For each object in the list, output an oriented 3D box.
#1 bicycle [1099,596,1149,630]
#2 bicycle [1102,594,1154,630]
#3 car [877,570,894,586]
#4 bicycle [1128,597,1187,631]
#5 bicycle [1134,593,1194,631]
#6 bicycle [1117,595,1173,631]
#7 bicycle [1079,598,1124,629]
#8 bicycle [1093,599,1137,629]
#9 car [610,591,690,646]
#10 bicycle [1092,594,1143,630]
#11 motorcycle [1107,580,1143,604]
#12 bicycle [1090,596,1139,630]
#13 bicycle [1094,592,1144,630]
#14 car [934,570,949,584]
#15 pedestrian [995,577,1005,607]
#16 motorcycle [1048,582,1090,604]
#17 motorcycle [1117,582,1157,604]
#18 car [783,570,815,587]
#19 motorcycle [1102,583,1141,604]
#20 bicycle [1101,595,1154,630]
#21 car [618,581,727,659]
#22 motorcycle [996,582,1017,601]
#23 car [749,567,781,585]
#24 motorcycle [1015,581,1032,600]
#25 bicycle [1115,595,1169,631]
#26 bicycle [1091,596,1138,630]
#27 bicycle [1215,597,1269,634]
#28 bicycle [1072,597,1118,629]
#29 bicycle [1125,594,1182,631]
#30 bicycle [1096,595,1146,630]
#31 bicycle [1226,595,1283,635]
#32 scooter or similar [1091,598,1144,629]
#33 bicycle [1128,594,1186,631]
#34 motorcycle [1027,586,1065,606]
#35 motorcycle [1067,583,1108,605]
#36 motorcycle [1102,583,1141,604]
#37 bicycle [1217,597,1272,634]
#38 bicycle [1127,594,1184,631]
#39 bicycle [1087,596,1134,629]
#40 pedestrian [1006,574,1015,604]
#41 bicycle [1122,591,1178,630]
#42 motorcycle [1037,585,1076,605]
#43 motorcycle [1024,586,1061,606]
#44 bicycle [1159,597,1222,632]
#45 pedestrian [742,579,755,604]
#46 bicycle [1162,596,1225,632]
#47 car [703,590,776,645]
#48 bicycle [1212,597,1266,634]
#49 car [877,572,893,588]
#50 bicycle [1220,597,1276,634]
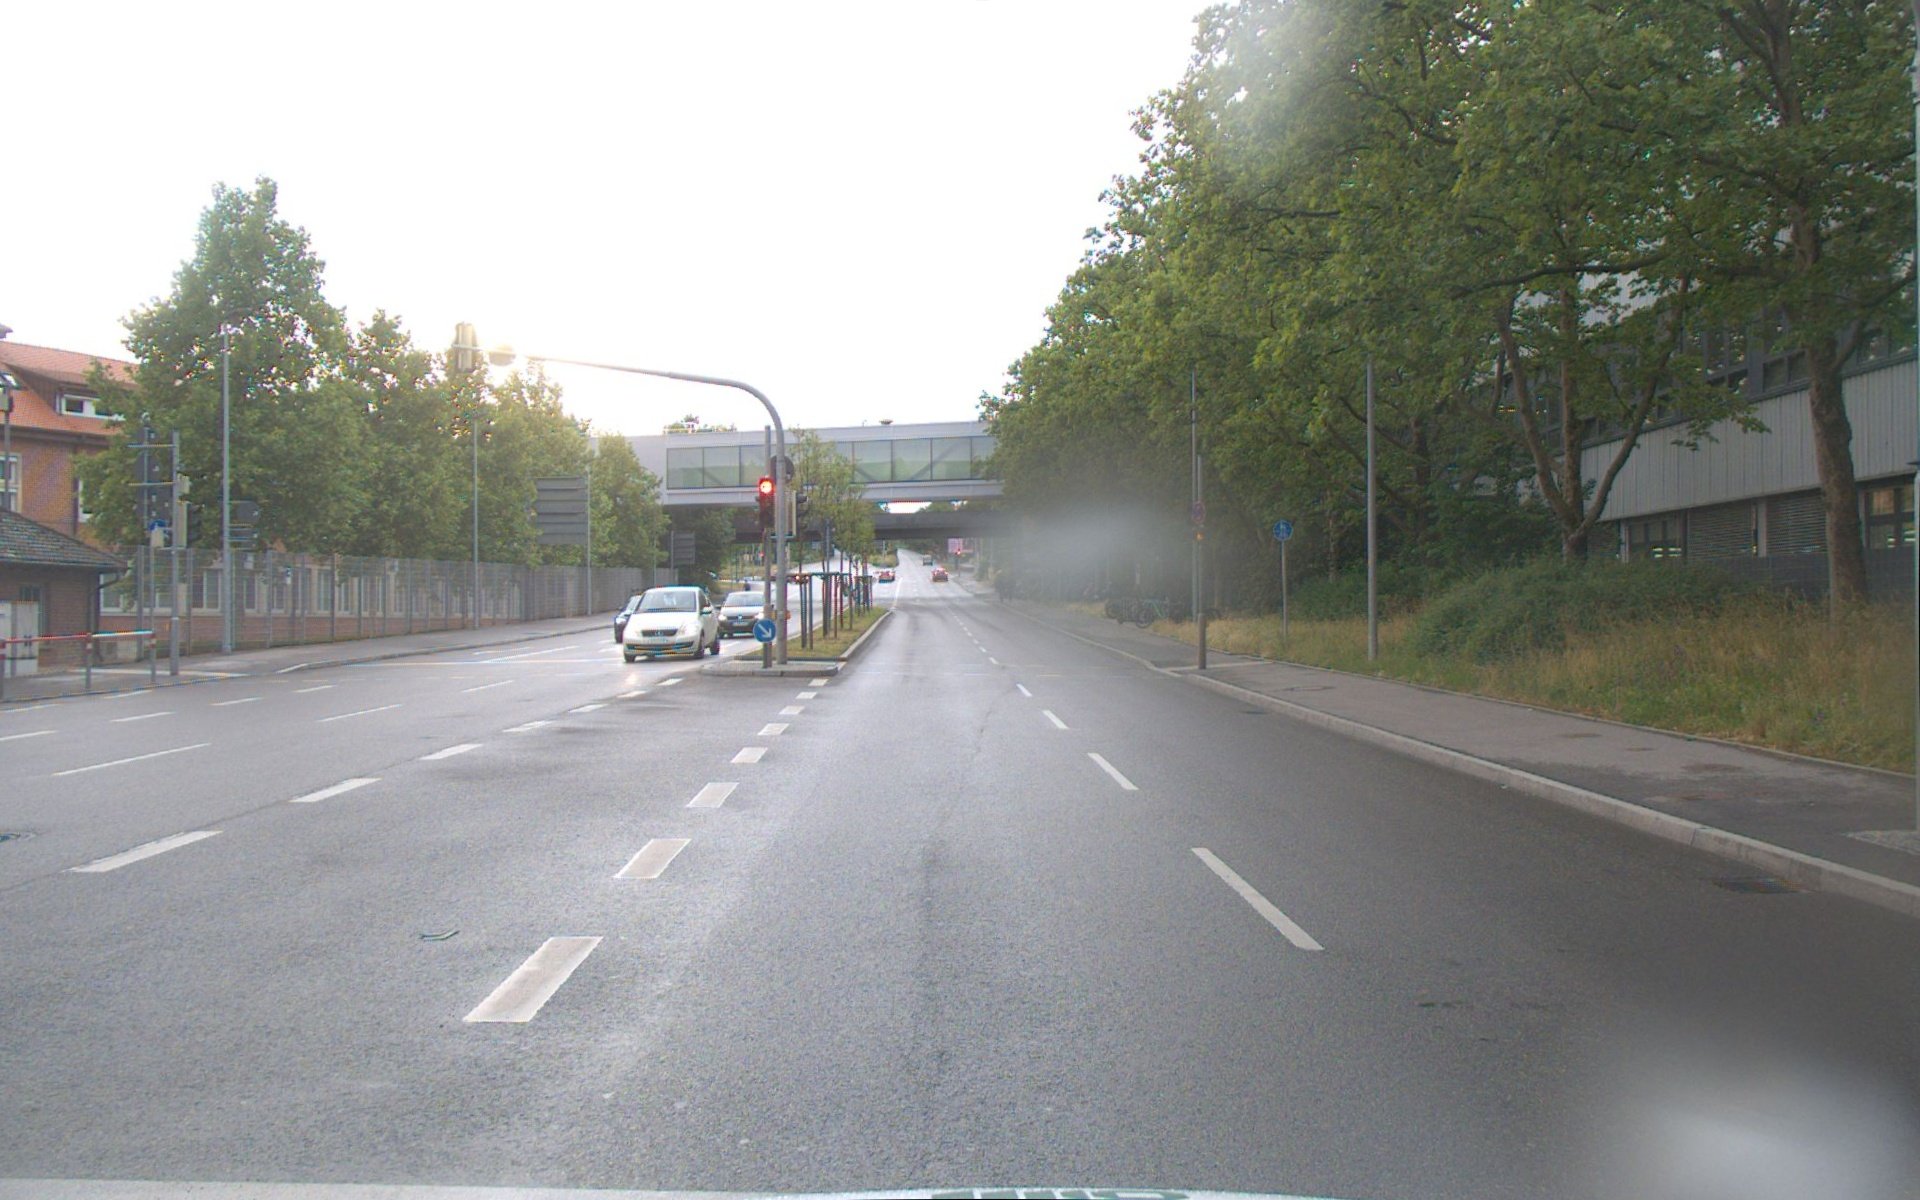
[{"bbox_3d":[6.791,0.530,68.479,1.949,1.352,0.576,2,-1,0],"label":"bicycle"},{"bbox_3d":[6.596,0.489,65.137,1.949,1.352,0.576,2,-1,0],"label":"bicycle"},{"bbox_3d":[-9.274,-2.783,206.578,1.953,1.792,3.999,2,-1,-1],"label":"car"},{"bbox_3d":[6.866,0.498,57.561,1.949,1.114,0.541,2,-1,0],"label":"bicycle"},{"bbox_3d":[6.904,0.414,55.955,1.949,1.237,0.541,2,-1,0],"label":"bicycle"},{"bbox_3d":[6.816,0.468,60.912,1.949,1.263,0.541,2,-1,0],"label":"bicycle"},{"bbox_3d":[6.369,0.600,74.431,1.923,1.352,0.654,2,-1,0],"label":"bicycle"},{"bbox_3d":[7.102,0.645,75.944,1.923,1.352,0.654,2,-1,0],"label":"bicycle"},{"bbox_3d":[-9.730,0.547,52.148,1.839,1.653,3.778,-1,0,-1],"label":"car"},{"bbox_3d":[6.267,0.490,65.941,1.949,1.352,0.576,2,-1,0],"label":"bicycle"},{"bbox_3d":[10.693,-0.534,107.177,2.318,1.502,0.723,-1,0,7],"label":"motorcycle"},{"bbox_3d":[6.459,0.542,69.185,1.949,1.352,0.576,2,-1,0],"label":"bicycle"},{"bbox_3d":[6.509,0.457,67.622,1.949,1.455,0.723,2,-1,0],"label":"bicycle"},{"bbox_3d":[-2.275,-2.812,202.875,1.837,1.523,4.067,2,-1,-1],"label":"car"},{"bbox_3d":[2.754,-0.558,114.222,0.609,2.049,0.605,-1,0,-1],"label":"pedestrian"},{"bbox_3d":[6.273,-0.392,94.960,2.318,1.223,0.723,-1,0,7],"label":"motorcycle"},{"bbox_3d":[10.595,-0.410,99.068,2.318,1.223,0.723,-1,0,7],"label":"motorcycle"},{"bbox_3d":[-20.169,-2.737,207.447,1.985,2.049,3.935,3,-1,-44],"label":"car"},{"bbox_3d":[9.799,-0.371,100.411,2.318,1.223,0.723,-1,0,7],"label":"motorcycle"},{"bbox_3d":[6.388,0.487,63.228,1.949,1.263,0.541,2,-1,0],"label":"bicycle"},{"bbox_3d":[-6.515,0.420,37.810,1.839,1.653,3.778,-1,0,-1],"label":"car"},{"bbox_3d":[3.517,-0.636,125.398,0.778,1.334,2.364,-1,0,-19],"label":"motorcycle"},{"bbox_3d":[-23.969,-2.928,203.254,1.985,2.049,3.935,3,-1,-44],"label":"car"},{"bbox_3d":[4.699,-0.684,122.203,0.775,1.334,2.371,-1,0,-9],"label":"motorcycle"},{"bbox_3d":[6.798,0.481,61.860,1.949,1.263,0.541,2,-1,0],"label":"bicycle"},{"bbox_3d":[6.579,0.551,70.424,1.920,1.352,0.576,2,-1,0],"label":"bicycle"},{"bbox_3d":[10.798,0.599,63.382,1.949,1.352,0.576,2,-1,0],"label":"bicycle"},{"bbox_3d":[6.006,0.577,73.621,1.923,1.352,0.654,2,-1,0],"label":"bicycle"},{"bbox_3d":[6.941,0.451,59.359,1.949,1.263,0.541,2,-1,0],"label":"bicycle"},{"bbox_3d":[6.508,0.511,66.888,1.949,1.352,0.576,2,-1,0],"label":"bicycle"},{"bbox_3d":[10.666,0.547,59.975,1.949,1.352,0.576,2,-1,0],"label":"bicycle"},{"bbox_3d":[6.085,0.526,64.015,1.949,1.157,0.541,2,-1,0],"label":"scooter or similar"},{"bbox_3d":[6.936,0.445,58.172,1.949,1.255,0.541,2,-1,0],"label":"bicycle"},{"bbox_3d":[5.519,-0.252,106.052,2.318,1.223,0.723,-1,0,7],"label":"motorcycle"},{"bbox_3d":[7.489,-0.376,96.887,2.318,1.223,0.723,-1,0,7],"label":"motorcycle"},{"bbox_3d":[9.906,-0.393,101.209,2.318,1.223,0.723,-1,0,7],"label":"motorcycle"},{"bbox_3d":[10.794,0.590,62.734,1.949,1.352,0.576,2,-1,0],"label":"bicycle"},{"bbox_3d":[6.942,0.442,58.768,1.949,1.263,0.541,2,-1,0],"label":"bicycle"},{"bbox_3d":[6.484,0.557,71.113,1.923,1.352,0.654,2,-1,0],"label":"bicycle"},{"bbox_3d":[3.481,-0.747,114.157,0.609,2.049,0.605,-1,0,-1],"label":"pedestrian"},{"bbox_3d":[6.921,0.395,60.222,1.949,1.364,0.541,2,-1,0],"label":"bicycle"},{"bbox_3d":[5.917,-0.308,101.602,2.318,1.223,0.723,-1,0,7],"label":"motorcycle"},{"bbox_3d":[5.400,-0.263,108.100,2.318,1.223,0.793,-1,0,7],"label":"motorcycle"},{"bbox_3d":[7.593,0.478,54.506,1.949,1.114,0.541,2,-1,0],"label":"bicycle"},{"bbox_3d":[-17.601,-0.722,137.616,0.853,2.039,0.855,3,0,8],"label":"pedestrian"},{"bbox_3d":[7.601,0.470,53.937,1.949,1.114,0.541,2,-1,0],"label":"bicycle"},{"bbox_3d":[-7.064,0.537,53.327,1.839,1.653,3.778,-1,0,-1],"label":"car"},{"bbox_3d":[10.799,0.608,64.051,1.949,1.352,0.576,2,-1,0],"label":"bicycle"},{"bbox_3d":[-9.509,-2.546,211.020,1.846,1.792,3.968,2,-1,-1],"label":"car"},{"bbox_3d":[10.803,0.581,62.069,1.949,1.352,0.576,2,-1,0],"label":"bicycle"}]
